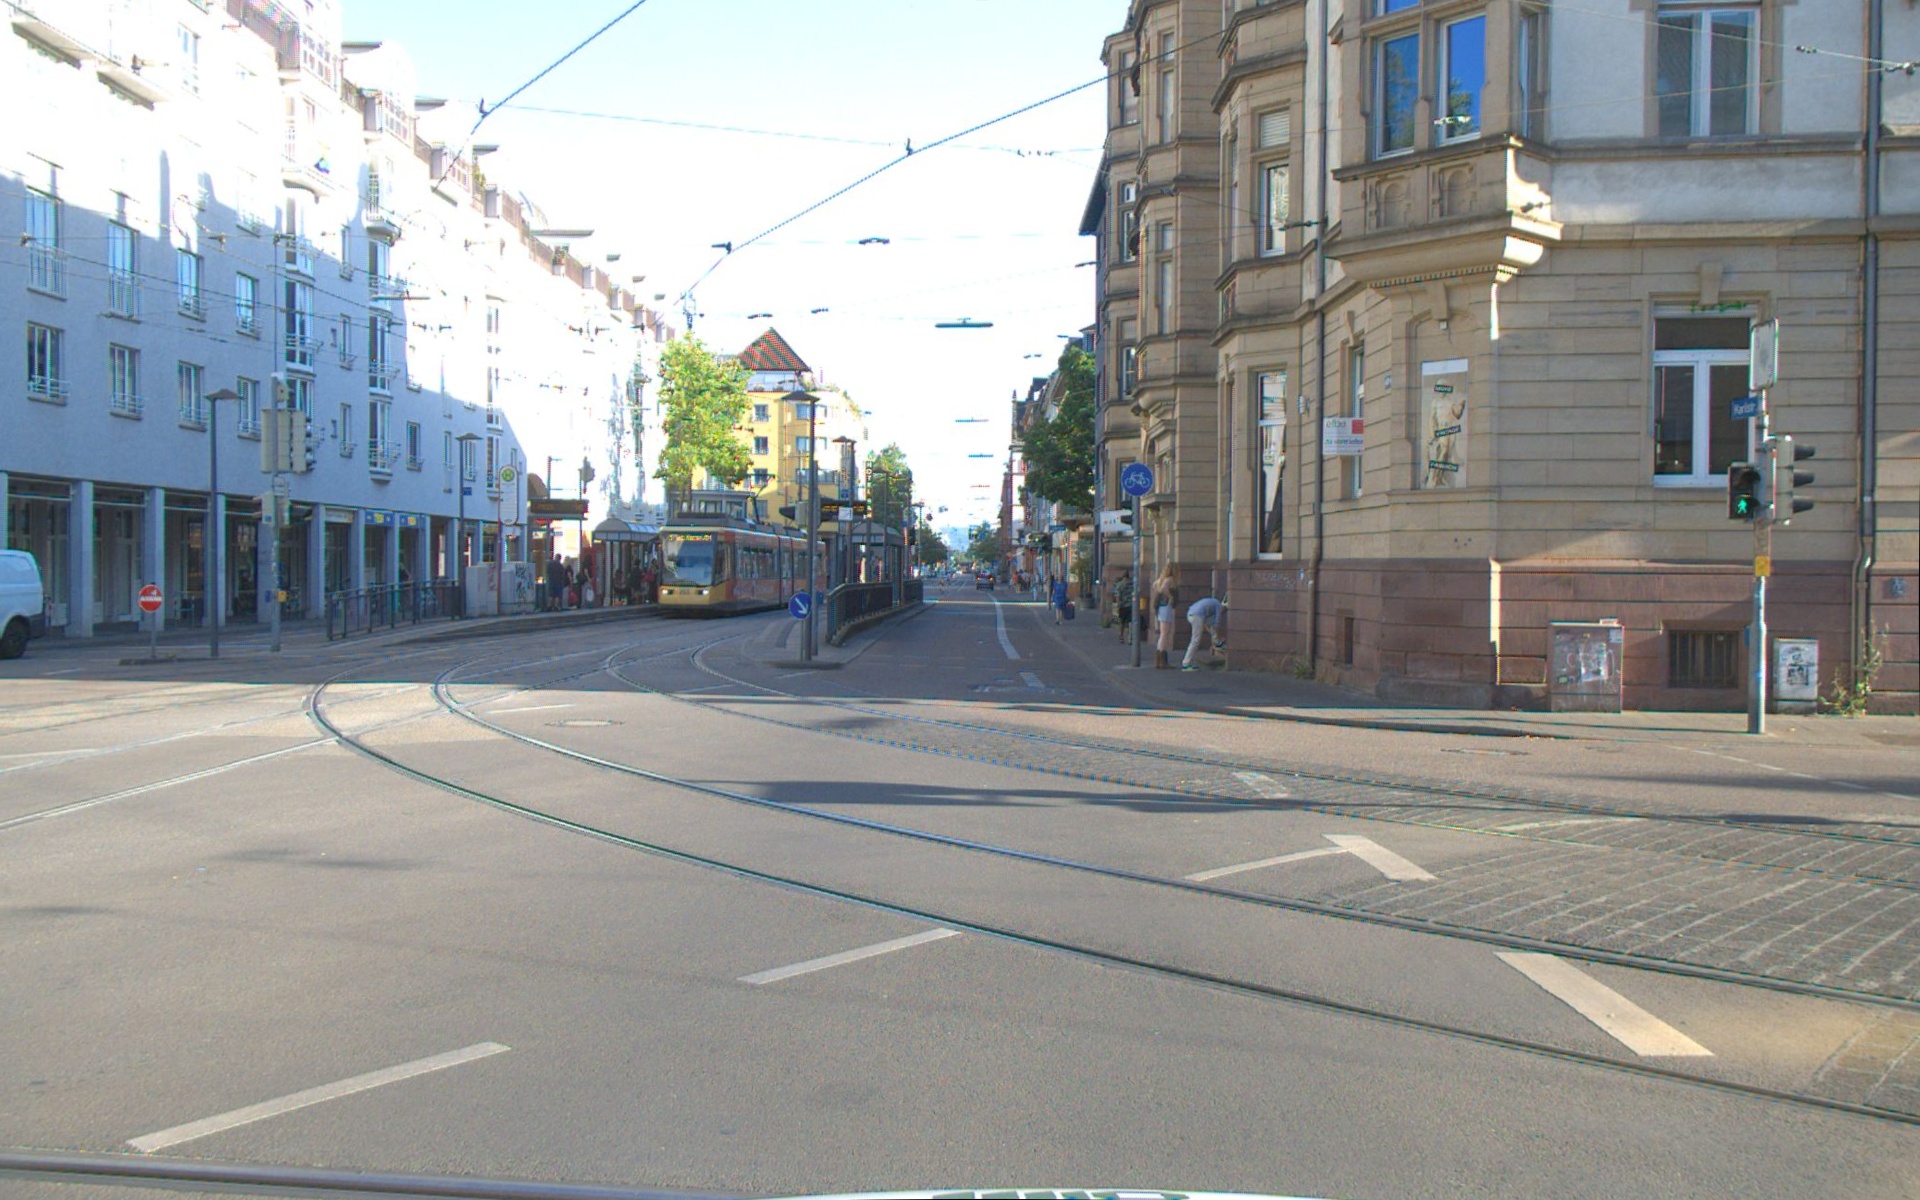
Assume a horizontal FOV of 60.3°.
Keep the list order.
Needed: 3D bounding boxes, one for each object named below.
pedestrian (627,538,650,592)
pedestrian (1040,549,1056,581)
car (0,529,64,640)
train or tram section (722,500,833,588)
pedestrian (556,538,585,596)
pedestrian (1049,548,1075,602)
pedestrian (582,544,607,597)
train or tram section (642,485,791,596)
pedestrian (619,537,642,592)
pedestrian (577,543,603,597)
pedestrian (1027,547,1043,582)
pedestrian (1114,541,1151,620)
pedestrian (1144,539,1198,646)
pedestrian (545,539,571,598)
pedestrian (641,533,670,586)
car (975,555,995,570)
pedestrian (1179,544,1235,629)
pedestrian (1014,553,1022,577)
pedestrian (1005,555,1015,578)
[{"bbox_3d":[-11.493,-1.246,59.160,0.681,1.938,0.672,1,0,-2],"label":"pedestrian"},{"bbox_3d":[4.649,-1.842,87.481,0.699,1.630,0.773,-2,2,-3],"label":"pedestrian"},{"bbox_3d":[-17.190,-0.212,27.193,1.953,1.869,5.347,-2,1,0],"label":"car"},{"bbox_3d":[-8.073,-2.544,75.372,2.825,3.550,14.957,-1,2,2],"label":"train or tram section"},{"bbox_3d":[-11.922,-0.998,50.624,0.752,1.763,0.517,1,1,42],"label":"pedestrian"},{"bbox_3d":[3.220,-0.806,52.197,0.747,1.674,0.832,-1,1,0],"label":"pedestrian"},{"bbox_3d":[-12.054,-0.976,54.530,0.686,1.720,0.667,0,0,-23],"label":"pedestrian"},{"bbox_3d":[-8.641,-2.150,60.741,2.825,3.550,14.174,-1,2,2],"label":"train or tram section"},{"bbox_3d":[-11.660,-1.247,58.601,0.681,1.938,0.672,1,0,-2],"label":"pedestrian"},{"bbox_3d":[-11.813,-0.949,52.824,0.686,1.720,0.667,0,0,-23],"label":"pedestrian"},{"bbox_3d":[3.934,-1.856,87.195,0.699,1.805,0.773,-2,2,-3],"label":"pedestrian"},{"bbox_3d":[4.149,-0.475,39.863,0.784,1.855,0.797,-1,1,0],"label":"pedestrian"},{"bbox_3d":[3.551,-0.127,27.834,0.778,1.751,0.719,-1,0,-1],"label":"pedestrian"},{"bbox_3d":[-11.823,-0.918,48.622,0.586,1.721,0.613,1,0,1],"label":"pedestrian"},{"bbox_3d":[-11.176,-1.484,60.762,0.913,1.938,0.881,1,0,-2],"label":"pedestrian"},{"bbox_3d":[2.455,-3.717,165.115,1.952,1.474,4.001,1,1,0],"label":"car"},{"bbox_3d":[4.034,-0.219,27.075,0.778,1.354,0.719,-1,0,-1],"label":"pedestrian"},{"bbox_3d":[4.394,-2.626,124.805,0.548,1.827,0.651,0,1,7],"label":"pedestrian"},{"bbox_3d":[4.359,-2.917,143.542,0.826,1.951,0.661,0,1,-1],"label":"pedestrian"}]
